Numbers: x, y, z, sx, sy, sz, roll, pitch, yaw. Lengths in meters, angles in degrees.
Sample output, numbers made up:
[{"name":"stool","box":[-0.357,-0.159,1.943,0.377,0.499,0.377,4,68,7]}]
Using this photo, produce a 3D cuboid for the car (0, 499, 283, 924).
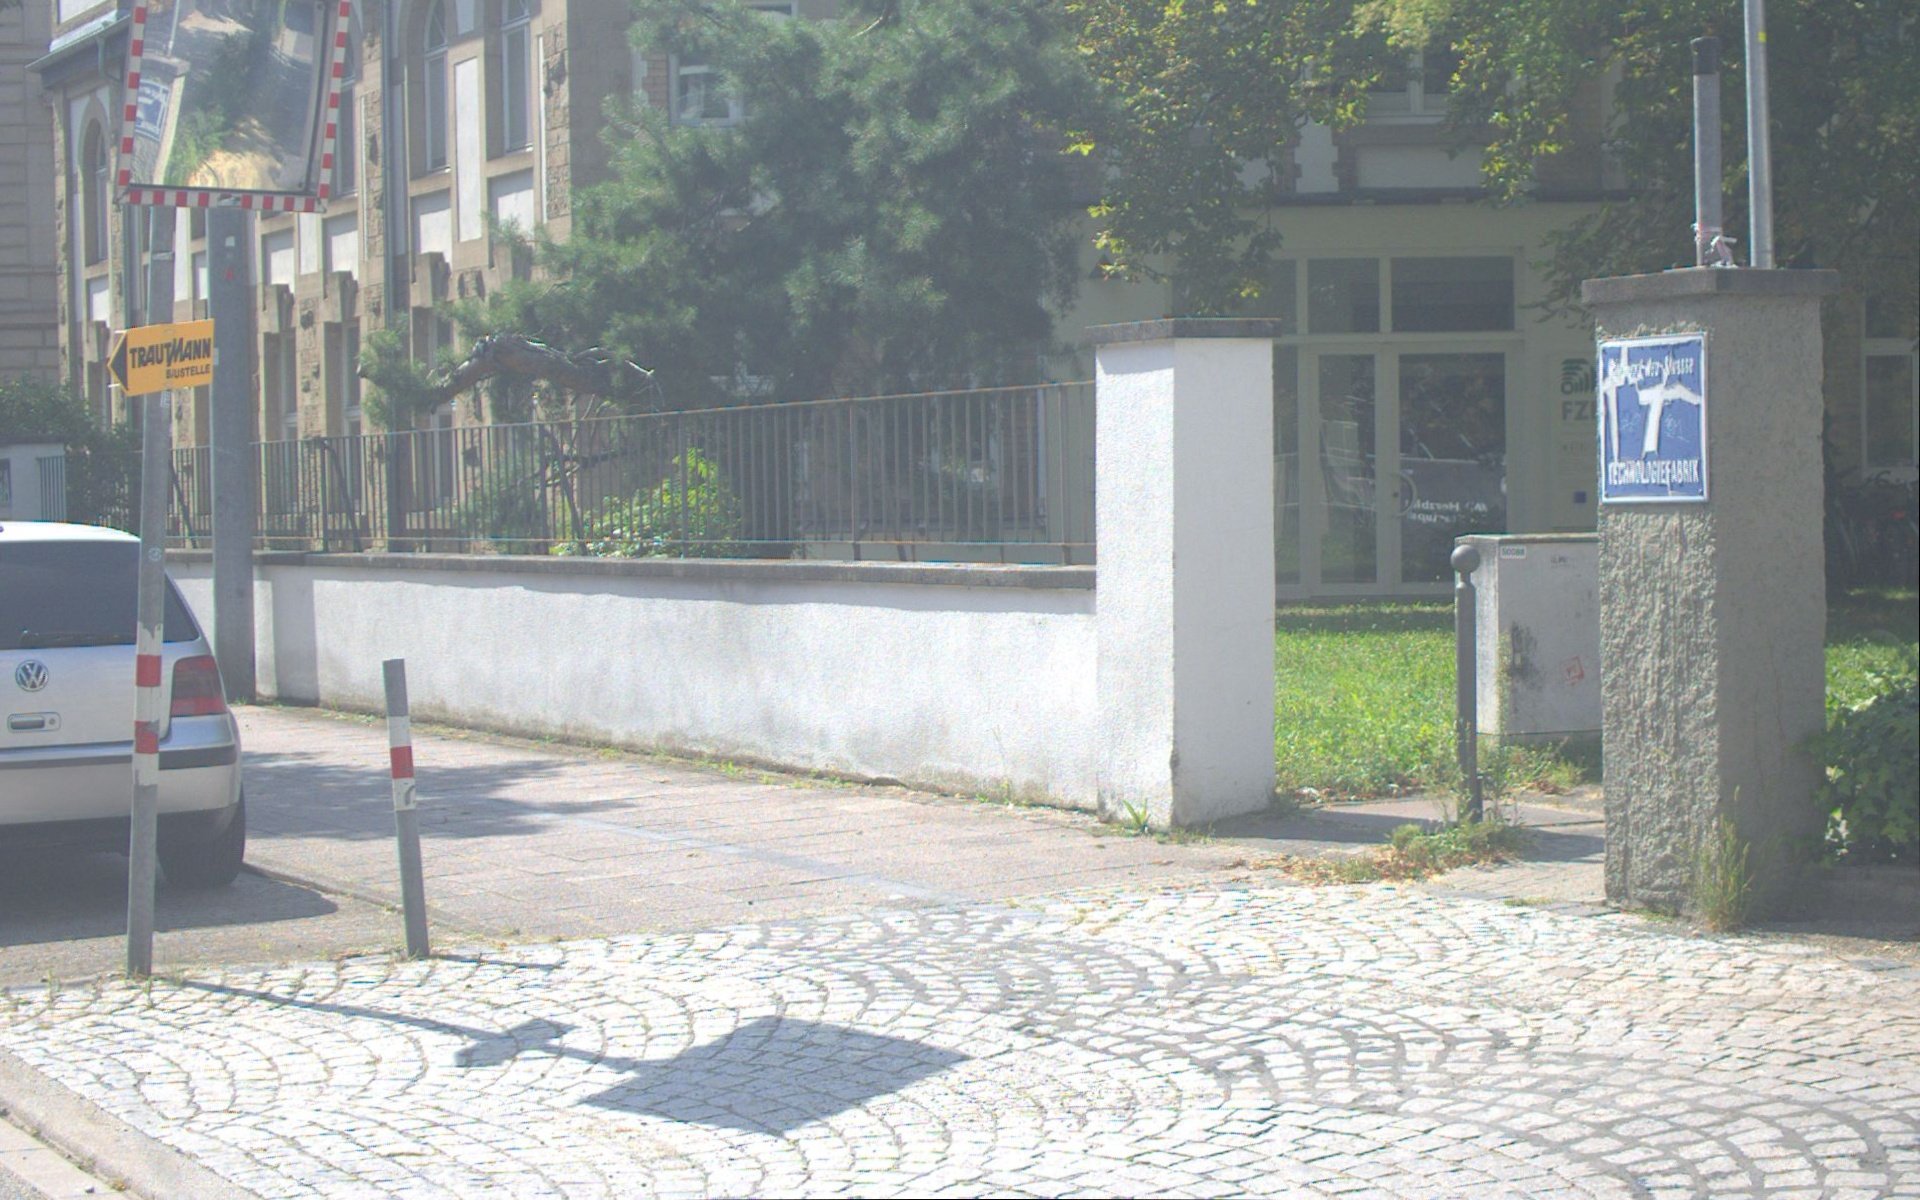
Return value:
[{"name":"car","box":[-4.059,0.365,13.602,1.791,1.441,3.733,-3,2,-25]}]

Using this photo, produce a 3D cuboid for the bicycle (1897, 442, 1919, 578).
[{"name":"bicycle","box":[9.536,-0.854,32.494,0.769,1.298,2.526,-1,1,3]}]

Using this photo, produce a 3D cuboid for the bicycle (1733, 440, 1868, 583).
[{"name":"bicycle","box":[7.928,-0.827,32.528,0.769,1.298,2.526,-1,1,3]}]

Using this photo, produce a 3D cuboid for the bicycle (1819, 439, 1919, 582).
[{"name":"bicycle","box":[8.730,-0.835,32.363,0.769,1.298,2.526,-1,1,3]}]
